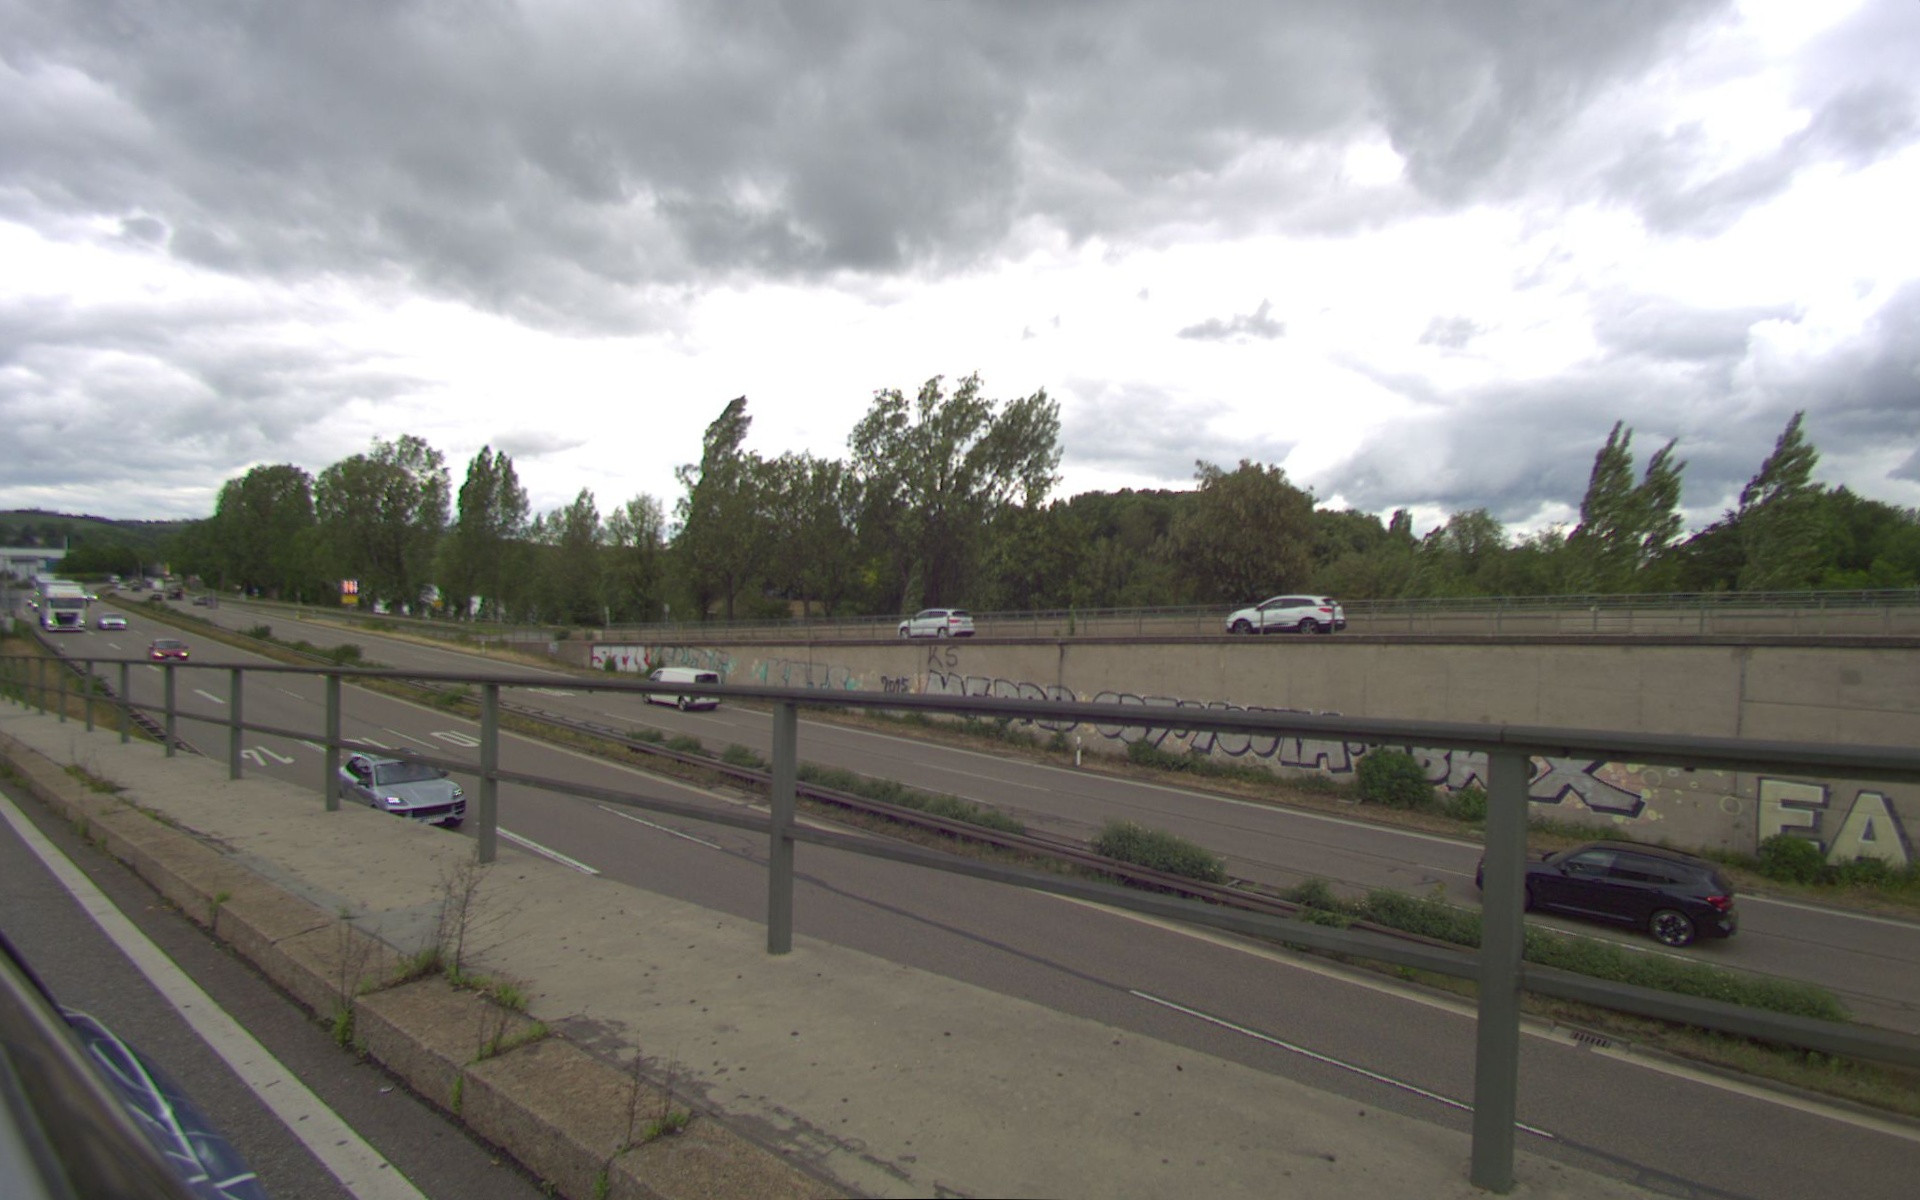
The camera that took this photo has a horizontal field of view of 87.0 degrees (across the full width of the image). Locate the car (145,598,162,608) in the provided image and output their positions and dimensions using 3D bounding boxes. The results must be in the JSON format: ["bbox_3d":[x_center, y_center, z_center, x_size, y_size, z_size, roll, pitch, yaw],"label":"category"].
[{"bbox_3d":[-137.195,0.485,172.128,3.859,1.512,1.645,3,0,43],"label":"car"}]

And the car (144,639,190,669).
[{"bbox_3d":[-49.611,3.369,63.311,4.167,1.451,1.732,4,2,44],"label":"car"}]

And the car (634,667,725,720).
[{"bbox_3d":[-14.217,4.673,51.205,5.177,2.082,1.972,2,1,42],"label":"car"}]

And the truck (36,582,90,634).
[{"bbox_3d":[-77.526,0.660,87.421,6.699,4.283,2.721,2,0,43],"label":"truck"}]

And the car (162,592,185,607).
[{"bbox_3d":[-144.054,-0.102,185.326,6.114,2.566,2.220,2,1,43],"label":"car"}]

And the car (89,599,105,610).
[{"bbox_3d":[-138.643,0.727,162.649,1.831,1.619,4.172,3,-1,-41],"label":"car"}]

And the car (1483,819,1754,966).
[{"bbox_3d":[13.702,5.963,21.203,4.550,1.751,1.896,2,0,40],"label":"car"}]

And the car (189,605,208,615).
[{"bbox_3d":[-118.944,1.623,158.099,4.111,1.386,1.692,2,0,43],"label":"car"}]

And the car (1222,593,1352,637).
[{"bbox_3d":[12.368,0.600,38.469,4.346,1.588,1.812,-2,-2,43],"label":"car"}]

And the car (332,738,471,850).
[{"bbox_3d":[-14.087,4.752,25.414,4.281,1.813,1.820,4,2,43],"label":"car"}]

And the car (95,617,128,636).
[{"bbox_3d":[-76.561,2.393,91.311,4.279,1.429,1.894,3,2,44],"label":"car"}]

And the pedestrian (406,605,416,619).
[{"bbox_3d":[-68.322,1.485,125.896,1.078,1.718,0.820,2,2,43],"label":"pedestrian"}]

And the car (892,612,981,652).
[{"bbox_3d":[-1.184,1.593,50.425,4.211,1.884,1.973,-2,-2,41],"label":"car"}]

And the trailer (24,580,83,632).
[{"bbox_3d":[-83.056,0.479,92.583,13.152,4.283,2.721,2,0,43],"label":"trailer"}]

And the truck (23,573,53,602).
[{"bbox_3d":[-153.782,-2.196,168.705,11.130,4.559,3.136,2,1,45],"label":"truck"}]
